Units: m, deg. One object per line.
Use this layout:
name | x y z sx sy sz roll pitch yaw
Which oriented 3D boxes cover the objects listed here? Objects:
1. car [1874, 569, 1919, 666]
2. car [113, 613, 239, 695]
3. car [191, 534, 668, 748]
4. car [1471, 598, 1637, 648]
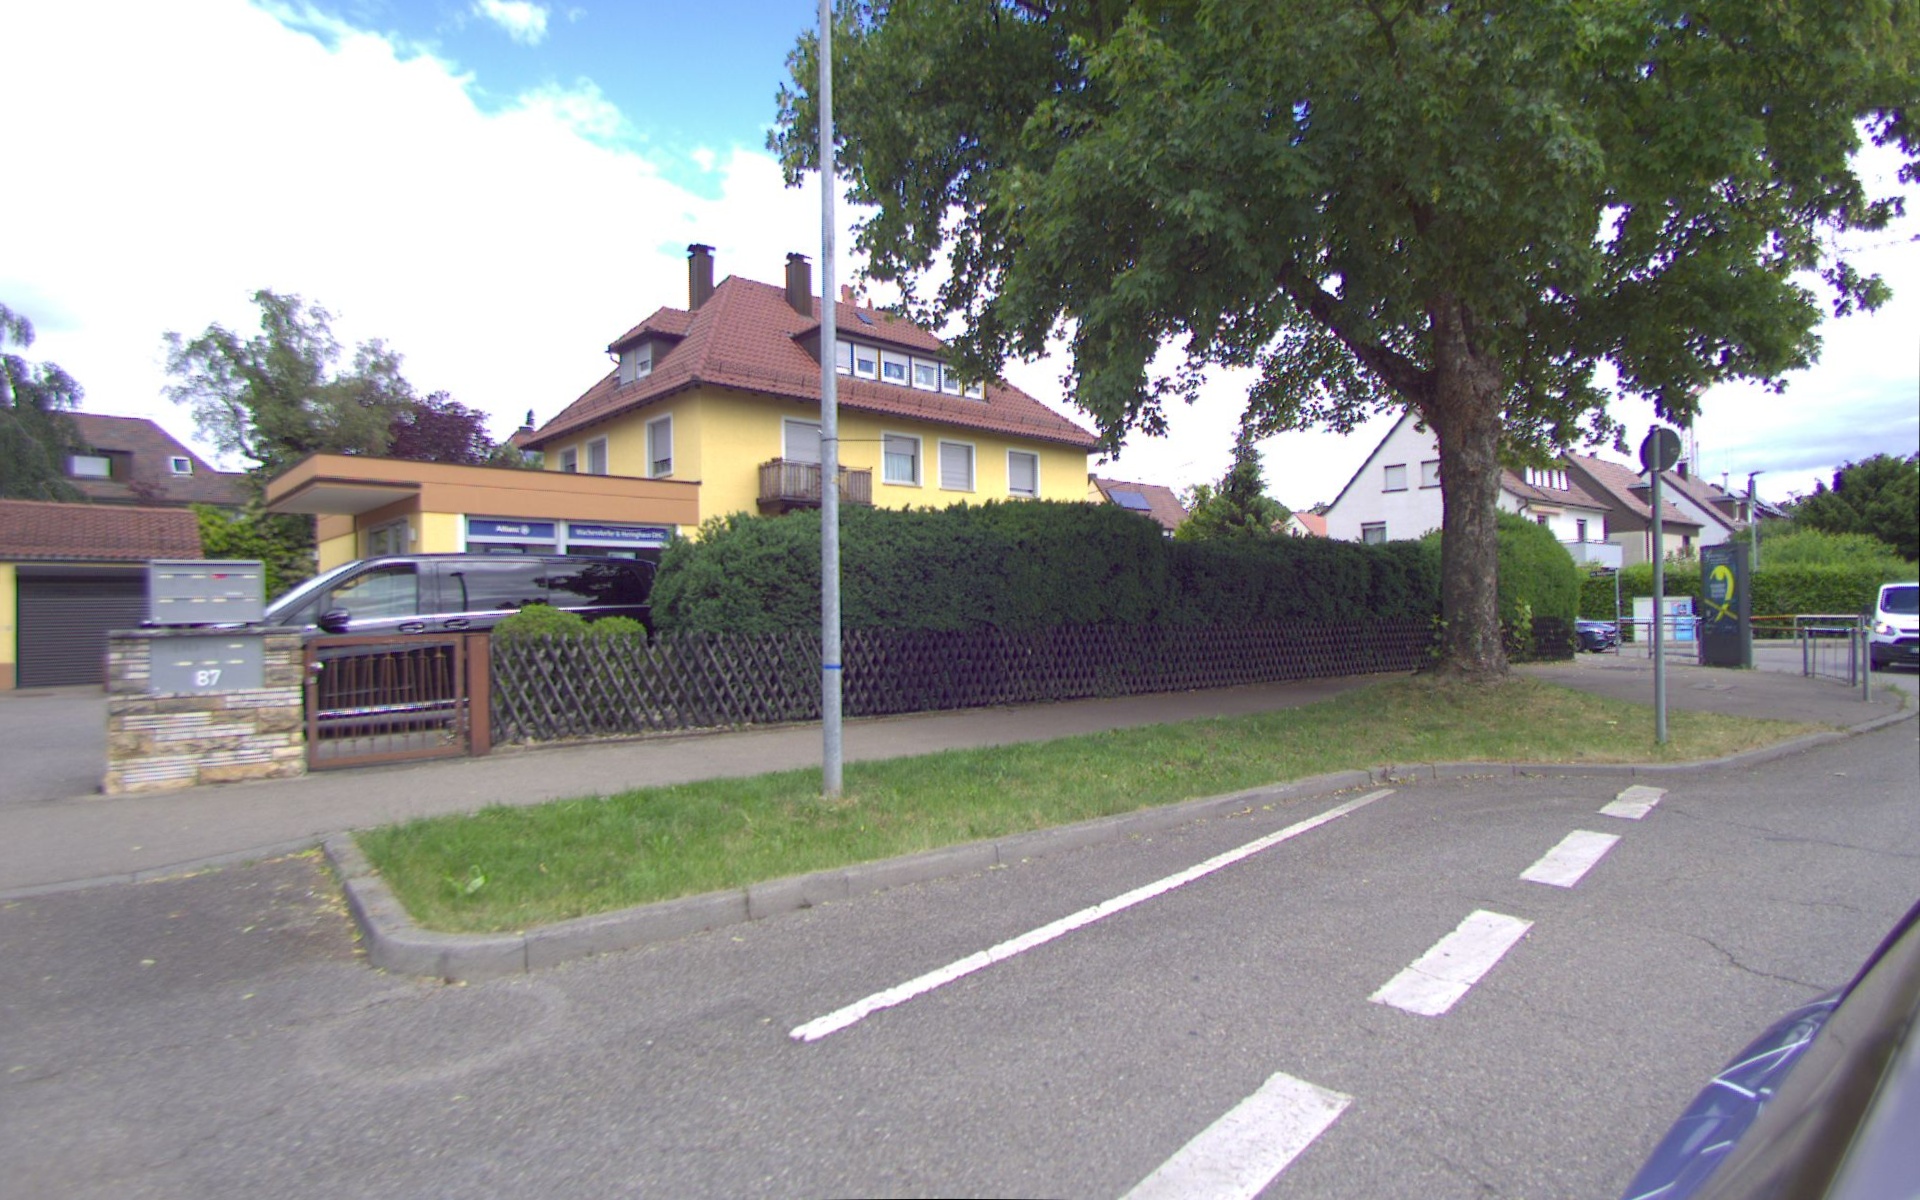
car | 22.044 0.364 22.845 1.993 2.039 4.971 -1 -1 43
car | -16.029 1.086 20.615 1.829 1.479 3.992 0 -3 -41
car | -5.679 0.385 11.122 4.387 1.905 1.819 0 -2 -39
car | 18.869 0.722 32.356 1.553 1.467 4.320 0 -1 -35
